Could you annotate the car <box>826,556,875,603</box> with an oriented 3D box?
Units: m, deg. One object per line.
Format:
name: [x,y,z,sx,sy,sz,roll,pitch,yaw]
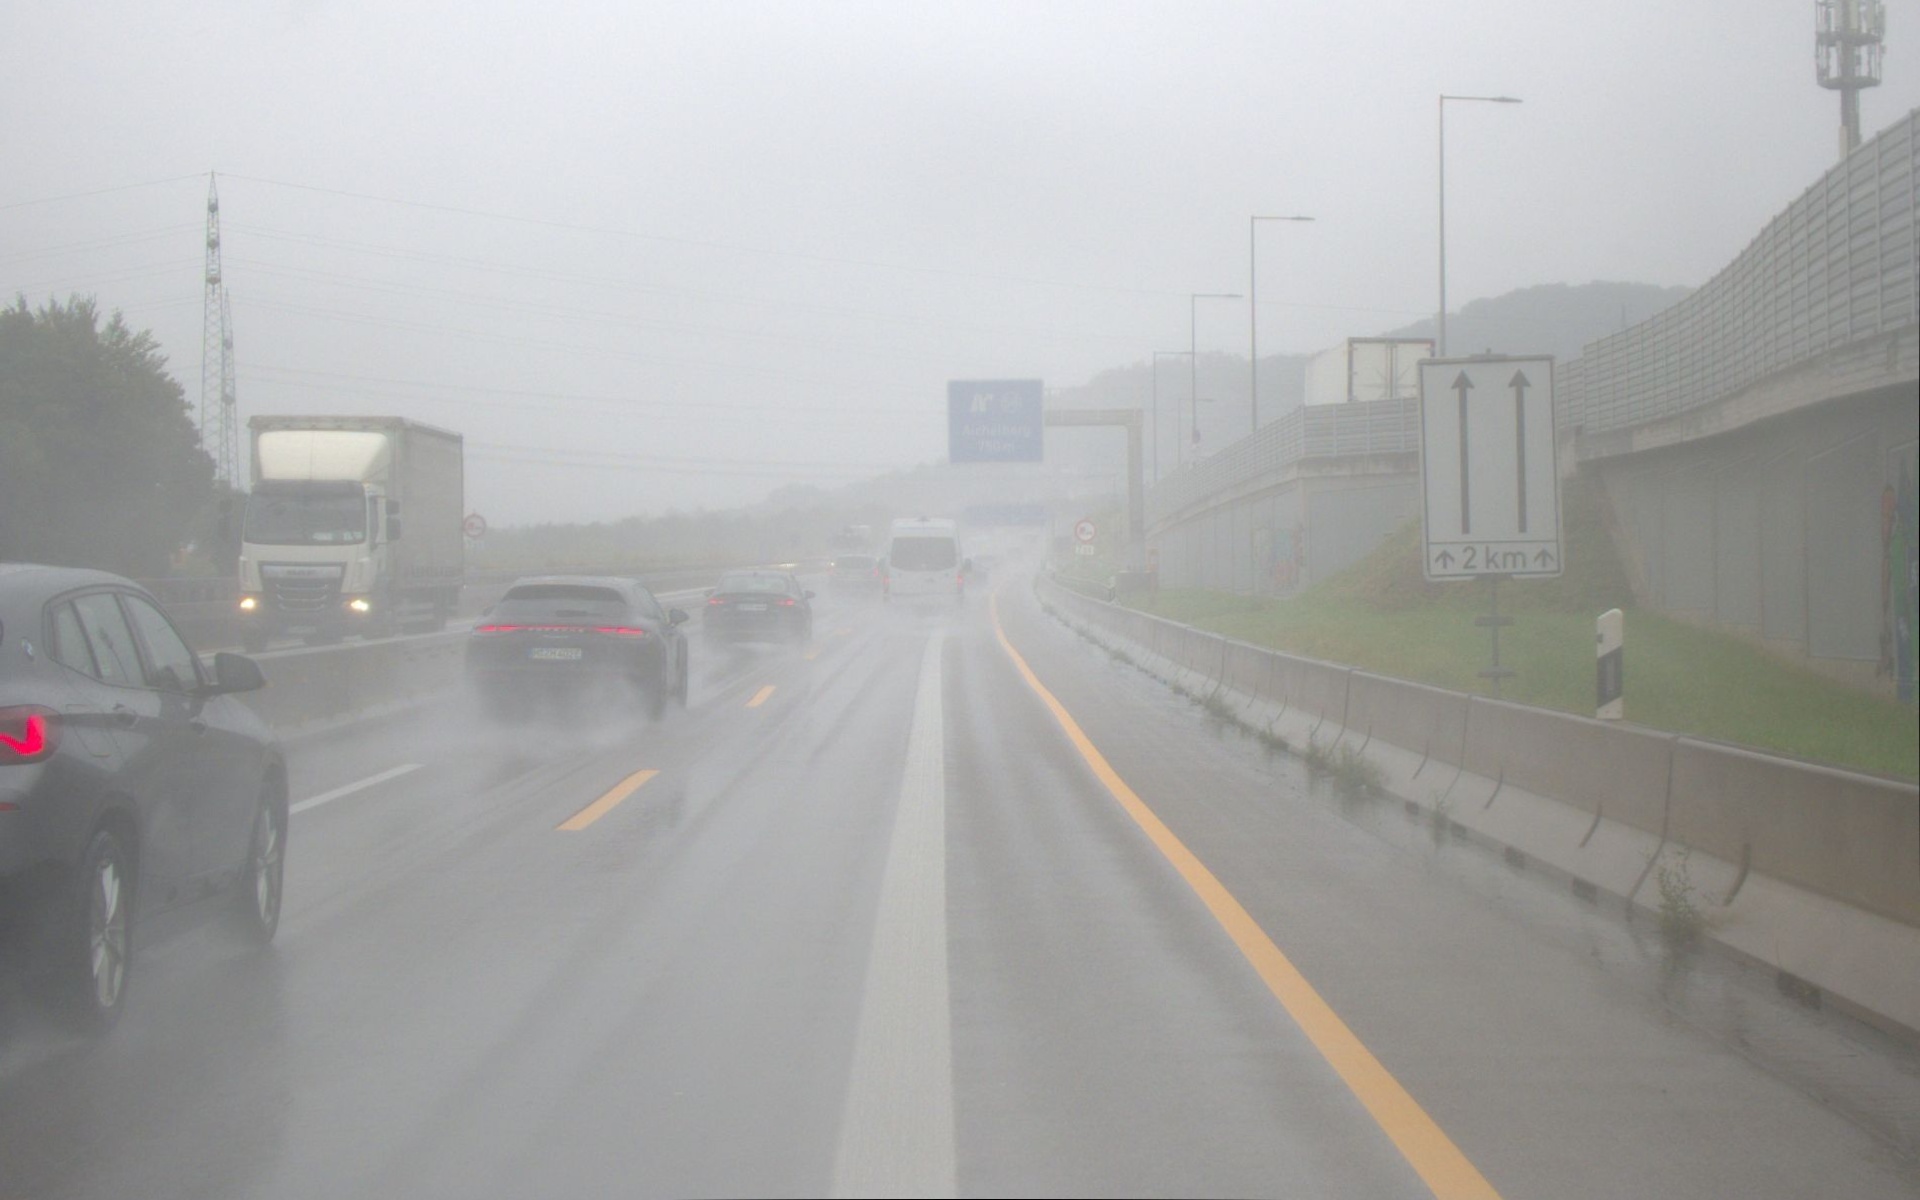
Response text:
car: [-3.707,-0.674,116.414,1.566,1.475,2.822,-2,-1,-2]

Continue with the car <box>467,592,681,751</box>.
car: [-3.852,0.698,34.886,1.844,1.486,4.262,1,-1,-2]

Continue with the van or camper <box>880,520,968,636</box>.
van or camper: [-0.911,-0.512,84.668,1.996,2.768,4.050,1,-1,-2]

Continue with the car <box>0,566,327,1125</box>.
car: [-3.459,0.711,12.222,1.700,1.592,4.845,1,-1,-2]

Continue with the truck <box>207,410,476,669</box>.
truck: [-10.668,-0.931,60.407,3.005,4.152,9.831,-1,-1,0]

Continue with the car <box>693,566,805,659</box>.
car: [-3.668,0.185,60.371,1.844,1.486,4.262,-2,1,-2]

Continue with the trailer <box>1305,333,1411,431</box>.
trailer: [12.562,-6.836,109.316,1.993,2.099,13.767,1,-1,1]
